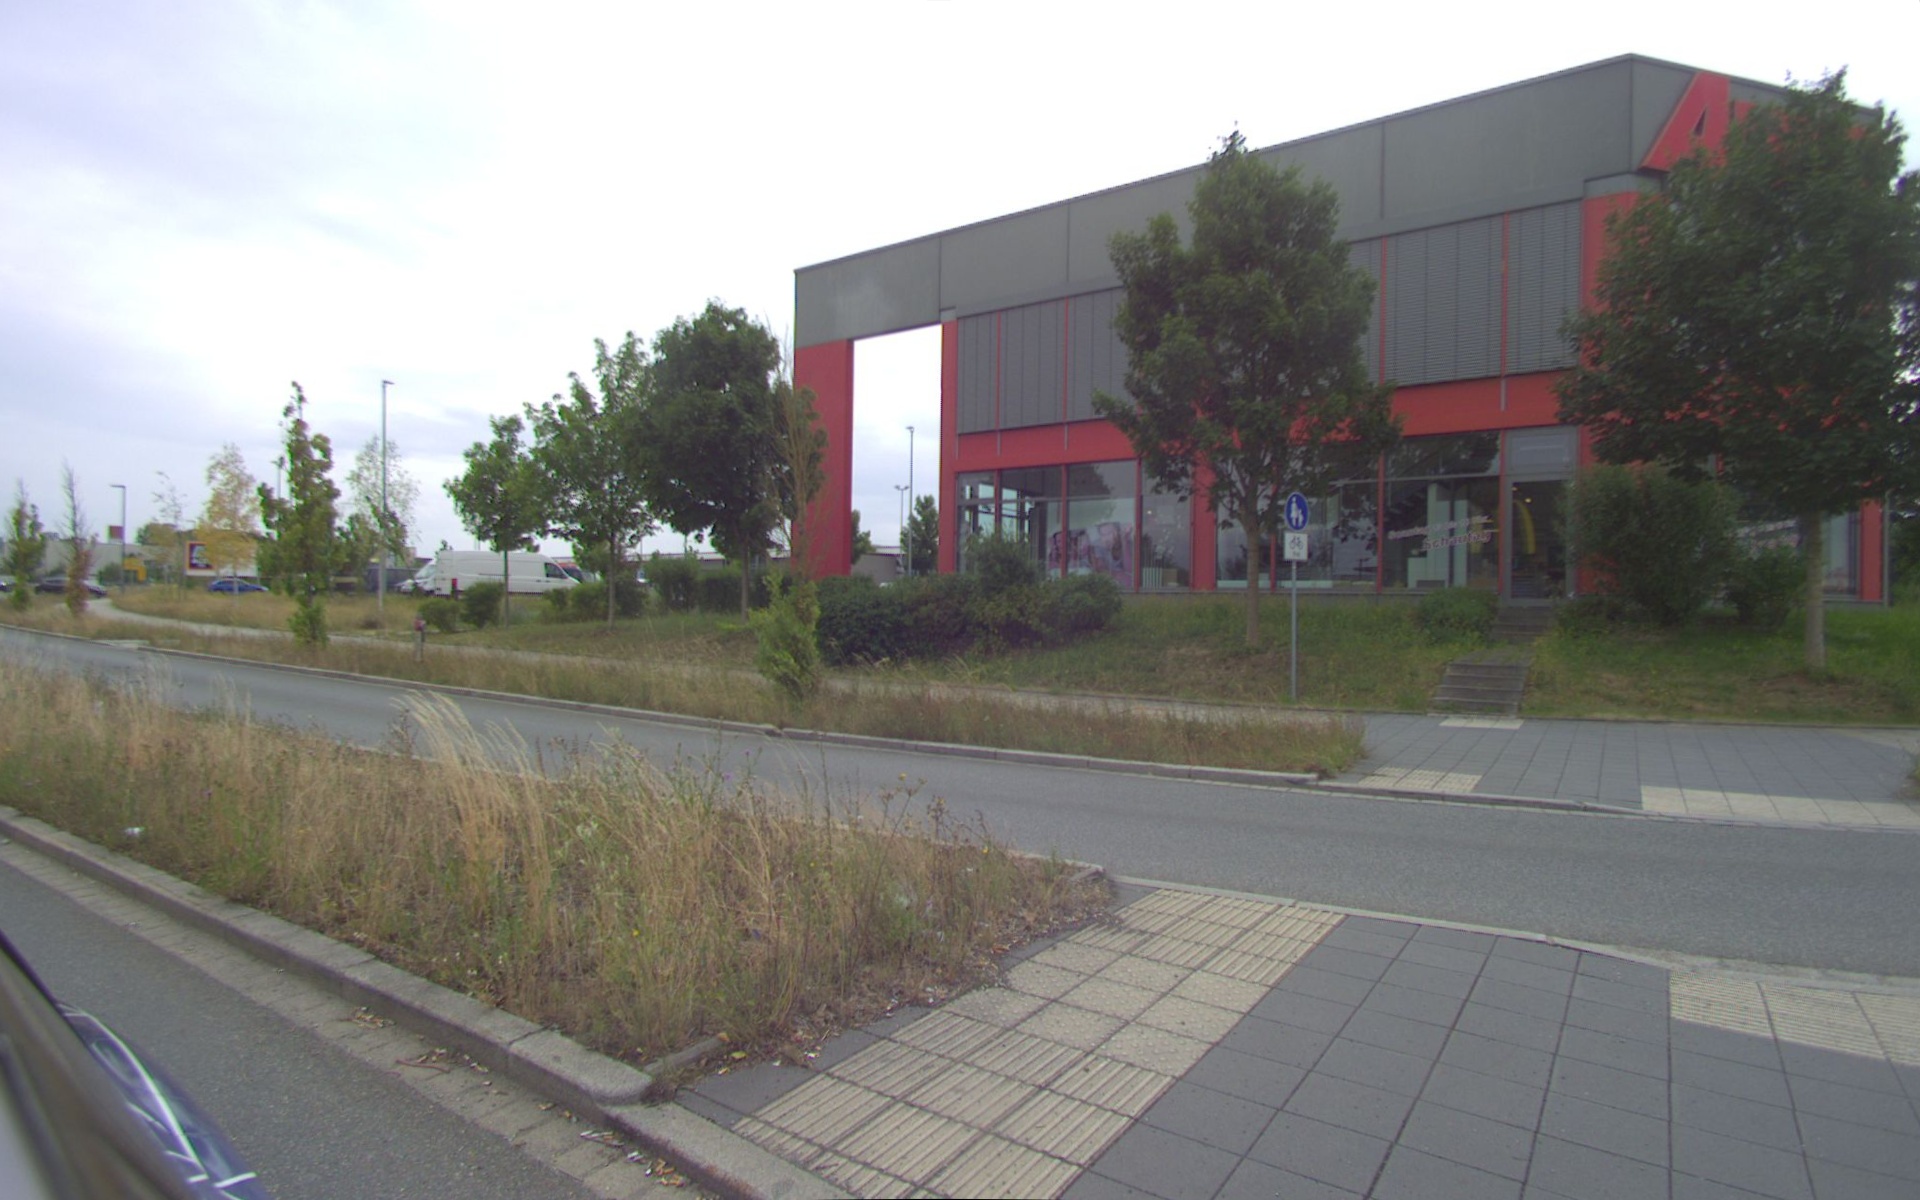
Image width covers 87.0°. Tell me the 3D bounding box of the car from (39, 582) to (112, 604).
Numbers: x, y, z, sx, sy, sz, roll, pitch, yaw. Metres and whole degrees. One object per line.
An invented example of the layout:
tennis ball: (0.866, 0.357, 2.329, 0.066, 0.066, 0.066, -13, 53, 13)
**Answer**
car: (-66.069, -0.519, 75.685, 3.934, 1.585, 2.005, -1, 2, -35)

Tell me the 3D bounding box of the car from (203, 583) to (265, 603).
car: (-58.056, -0.535, 80.997, 3.932, 1.524, 1.740, 1, 0, -32)

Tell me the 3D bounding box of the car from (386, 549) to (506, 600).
car: (-25.534, -1.274, 50.438, 2.060, 2.390, 4.998, 2, 2, 35)

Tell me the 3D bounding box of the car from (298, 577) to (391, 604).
car: (-41.263, -0.627, 67.955, 2.066, 1.669, 4.983, 1, 0, 44)

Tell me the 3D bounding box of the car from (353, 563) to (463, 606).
car: (-30.684, -0.822, 56.400, 2.064, 2.240, 4.987, 1, 0, 42)

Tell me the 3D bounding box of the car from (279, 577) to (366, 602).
car: (-46.215, -0.738, 73.464, 2.066, 1.669, 4.983, 1, 0, 44)

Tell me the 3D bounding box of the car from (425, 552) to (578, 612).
car: (-21.431, -0.881, 47.631, 2.062, 2.643, 6.337, 2, 2, 38)
